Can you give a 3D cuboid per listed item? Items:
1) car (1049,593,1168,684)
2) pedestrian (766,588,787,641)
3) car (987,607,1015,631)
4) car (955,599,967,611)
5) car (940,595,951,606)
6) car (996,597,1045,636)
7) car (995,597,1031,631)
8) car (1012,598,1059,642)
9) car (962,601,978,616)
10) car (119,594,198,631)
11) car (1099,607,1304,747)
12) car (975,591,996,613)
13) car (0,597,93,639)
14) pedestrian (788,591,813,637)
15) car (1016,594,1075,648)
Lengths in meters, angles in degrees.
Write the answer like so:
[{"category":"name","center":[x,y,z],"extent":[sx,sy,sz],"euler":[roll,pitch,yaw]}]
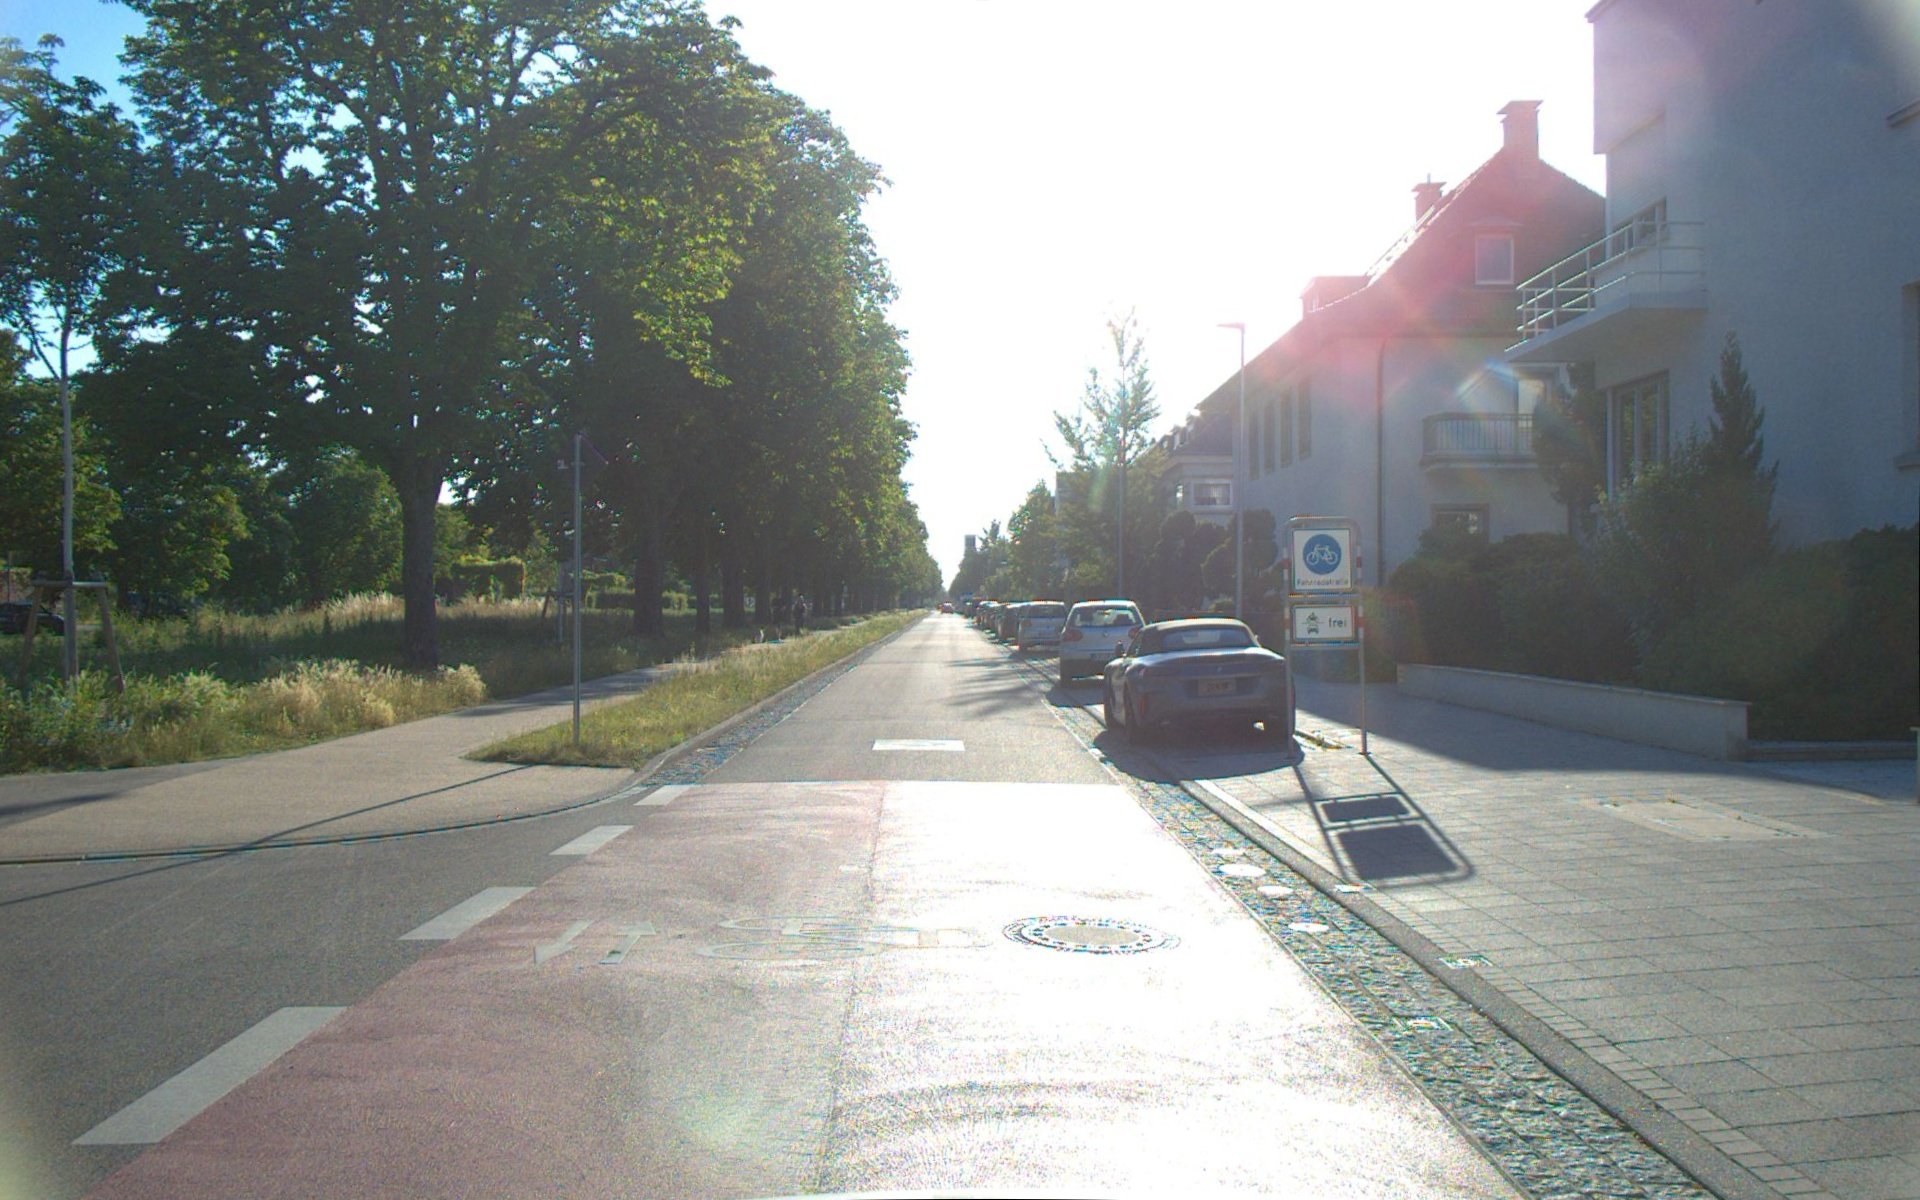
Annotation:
[{"category":"car","center":[2.703,0.677,30.951],"extent":[1.709,1.500,3.921],"euler":[-3,0,-2]},{"category":"pedestrian","center":[-6.543,0.521,59.103],"extent":[0.611,1.863,0.886],"euler":[0,0,3]},{"category":"car","center":[2.474,1.114,100.045],"extent":[1.618,1.421,3.266],"euler":[-1,0,1]},{"category":"car","center":[0.180,0.656,224.716],"extent":[1.618,1.568,3.266],"euler":[1,0,1]},{"category":"car","center":[-2.103,0.065,242.908],"extent":[1.618,1.568,3.266],"euler":[1,0,0]},{"category":"car","center":[2.433,0.661,67.385],"extent":[1.701,1.474,4.195],"euler":[-2,-1,-2]},{"category":"car","center":[2.431,0.646,77.076],"extent":[1.560,1.536,3.591],"euler":[-1,0,0]},{"category":"car","center":[2.809,0.726,61.230],"extent":[1.623,1.520,3.717],"euler":[-2,-1,3]},{"category":"car","center":[1.103,0.941,180.728],"extent":[1.618,1.568,3.266],"euler":[1,0,1]},{"category":"car","center":[-36.998,0.554,76.422],"extent":[1.658,1.625,4.220],"euler":[0,0,-1]},{"category":"car","center":[2.723,0.818,19.520],"extent":[1.738,1.311,4.272],"euler":[-3,1,0]},{"category":"car","center":[1.834,0.155,118.941],"extent":[1.467,1.594,3.266],"euler":[-1,0,1]},{"category":"car","center":[-36.632,0.685,66.219],"extent":[1.658,1.625,4.220],"euler":[0,0,-1]},{"category":"pedestrian","center":[-5.732,0.504,59.500],"extent":[0.767,1.643,0.952],"euler":[0,0,3]},{"category":"car","center":[2.607,0.614,50.909],"extent":[1.594,1.531,3.633],"euler":[-2,0,0]}]
